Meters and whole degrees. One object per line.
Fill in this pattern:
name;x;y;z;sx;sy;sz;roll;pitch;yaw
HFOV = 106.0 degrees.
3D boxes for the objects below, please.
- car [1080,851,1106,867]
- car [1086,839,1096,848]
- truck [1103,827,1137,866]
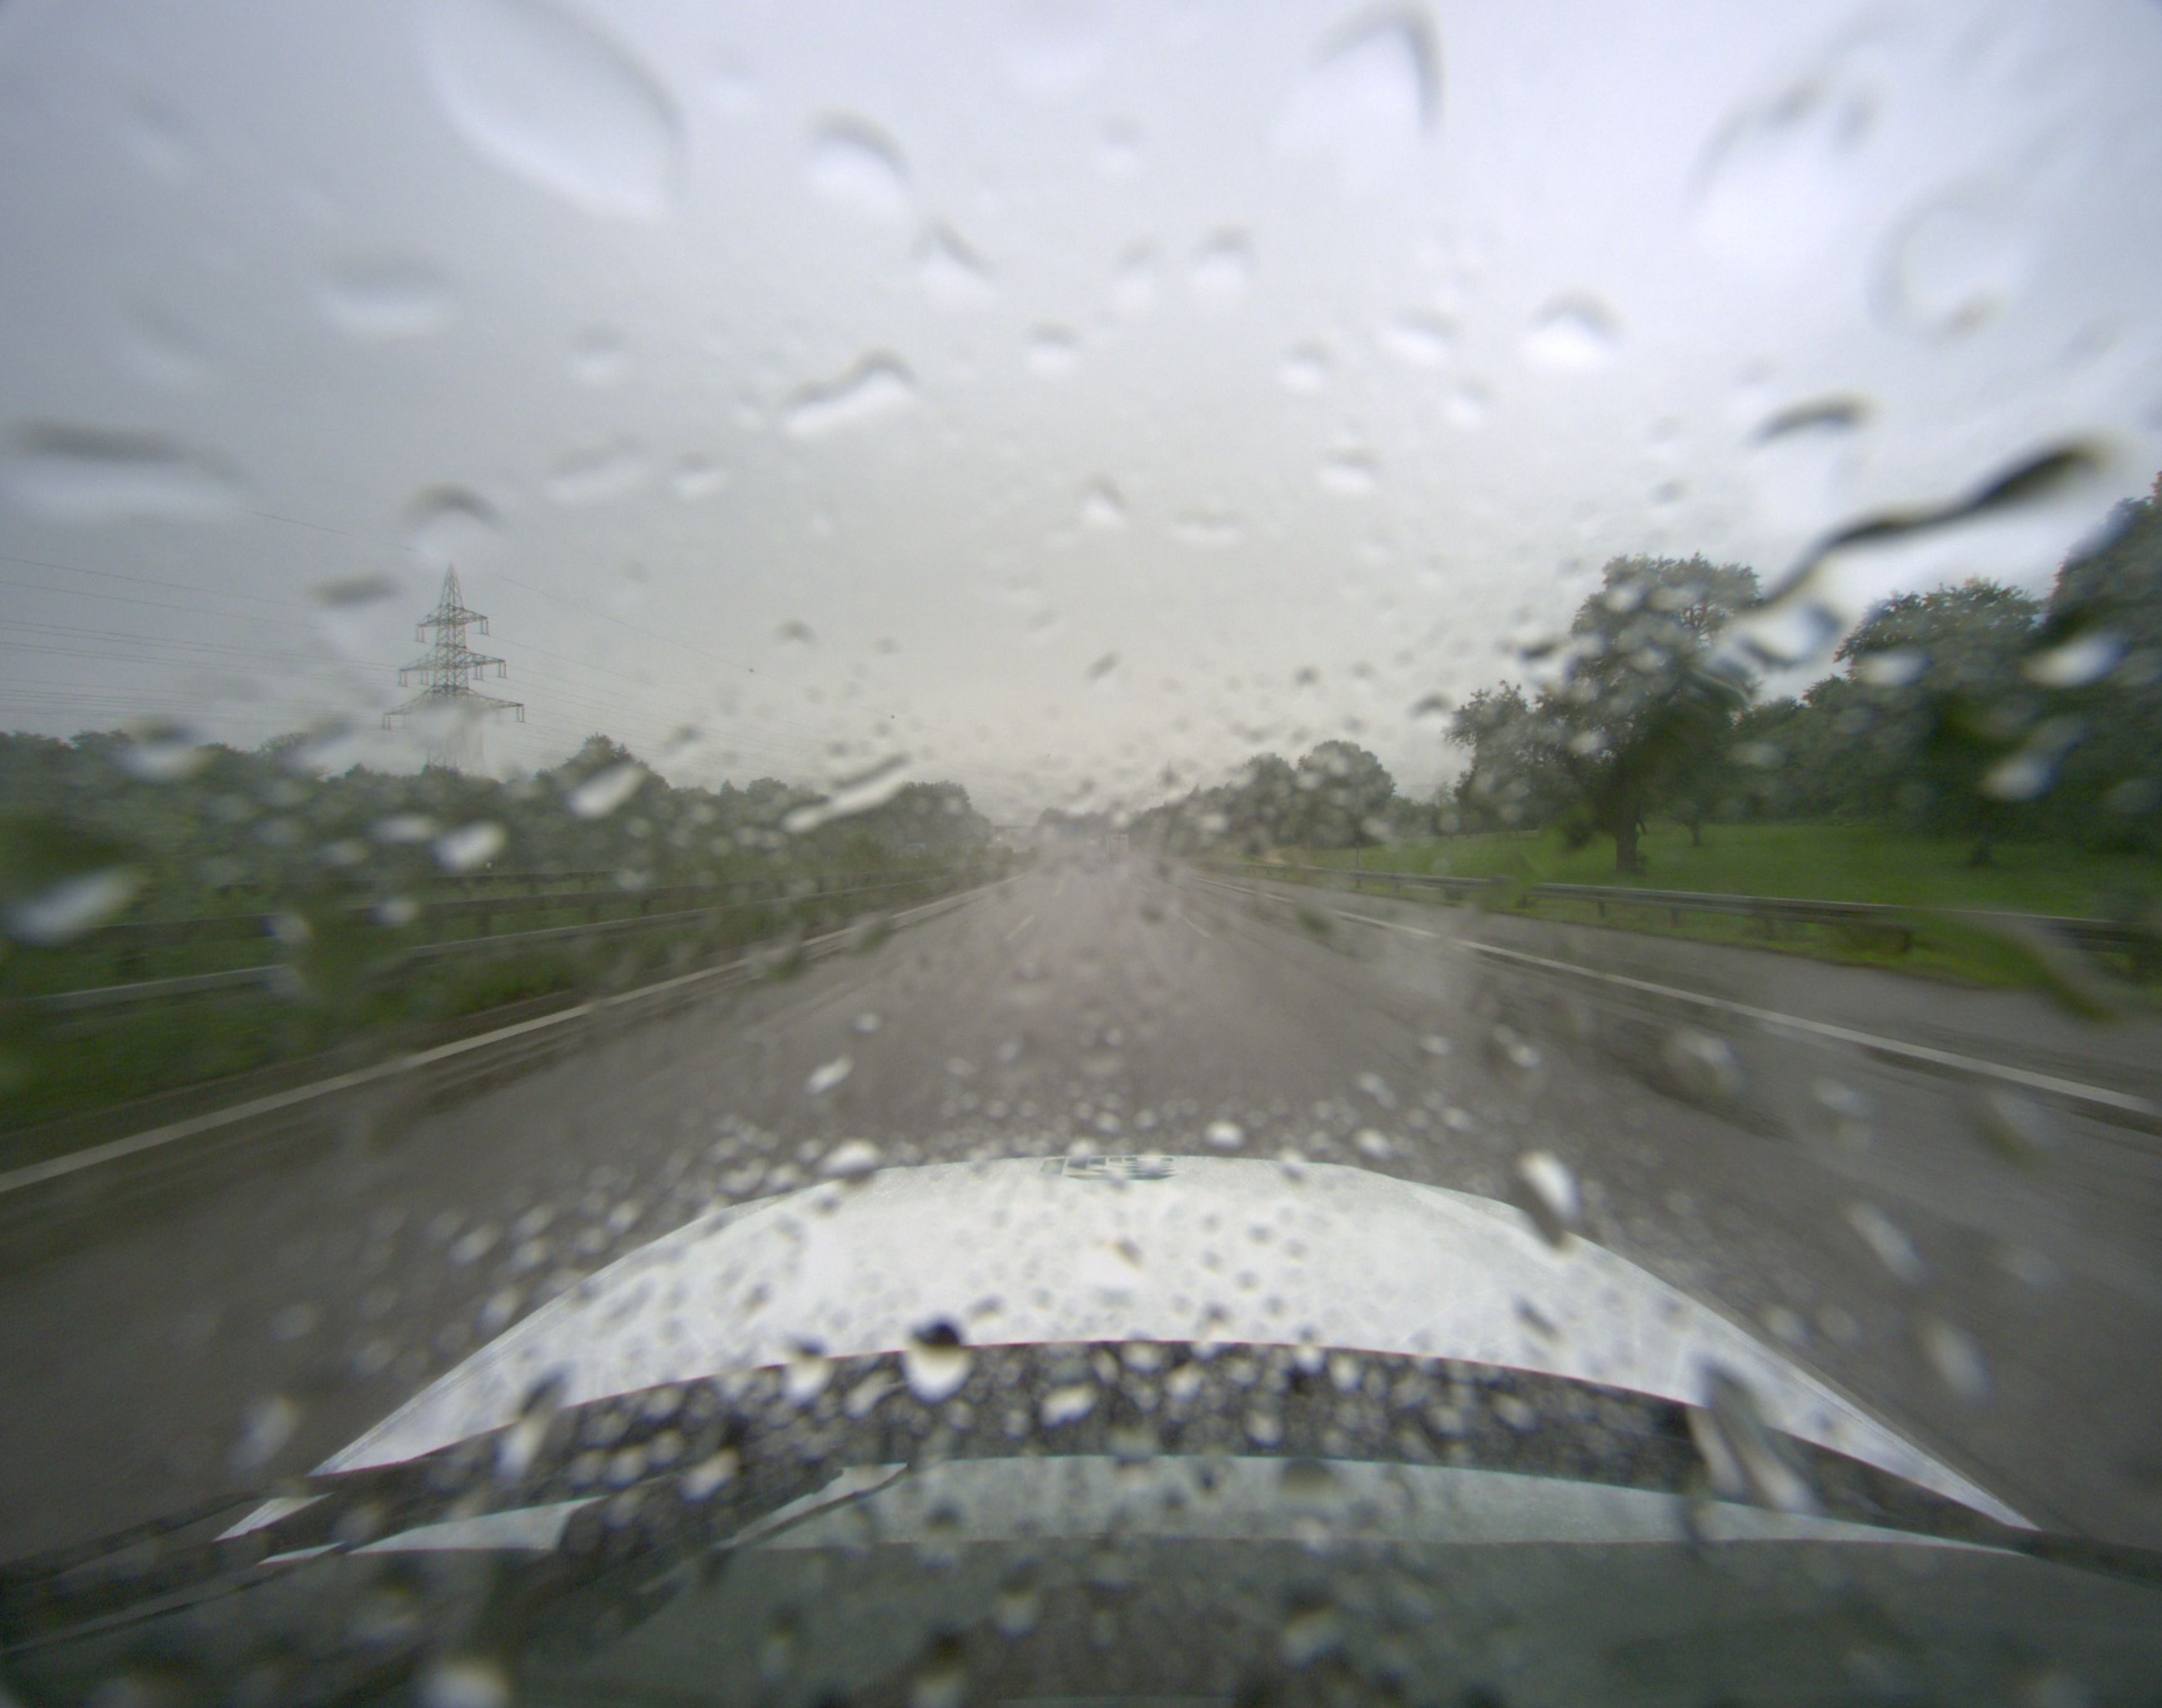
car;1.019;0.425;66.978;1.740;1.212;4.006;2;0;5
car;2.453;-2.678;202.078;2.386;2.272;5.000;1;1;-1
truck;5.679;-1.109;115.103;4.237;4.972;17.362;-2;1;4
